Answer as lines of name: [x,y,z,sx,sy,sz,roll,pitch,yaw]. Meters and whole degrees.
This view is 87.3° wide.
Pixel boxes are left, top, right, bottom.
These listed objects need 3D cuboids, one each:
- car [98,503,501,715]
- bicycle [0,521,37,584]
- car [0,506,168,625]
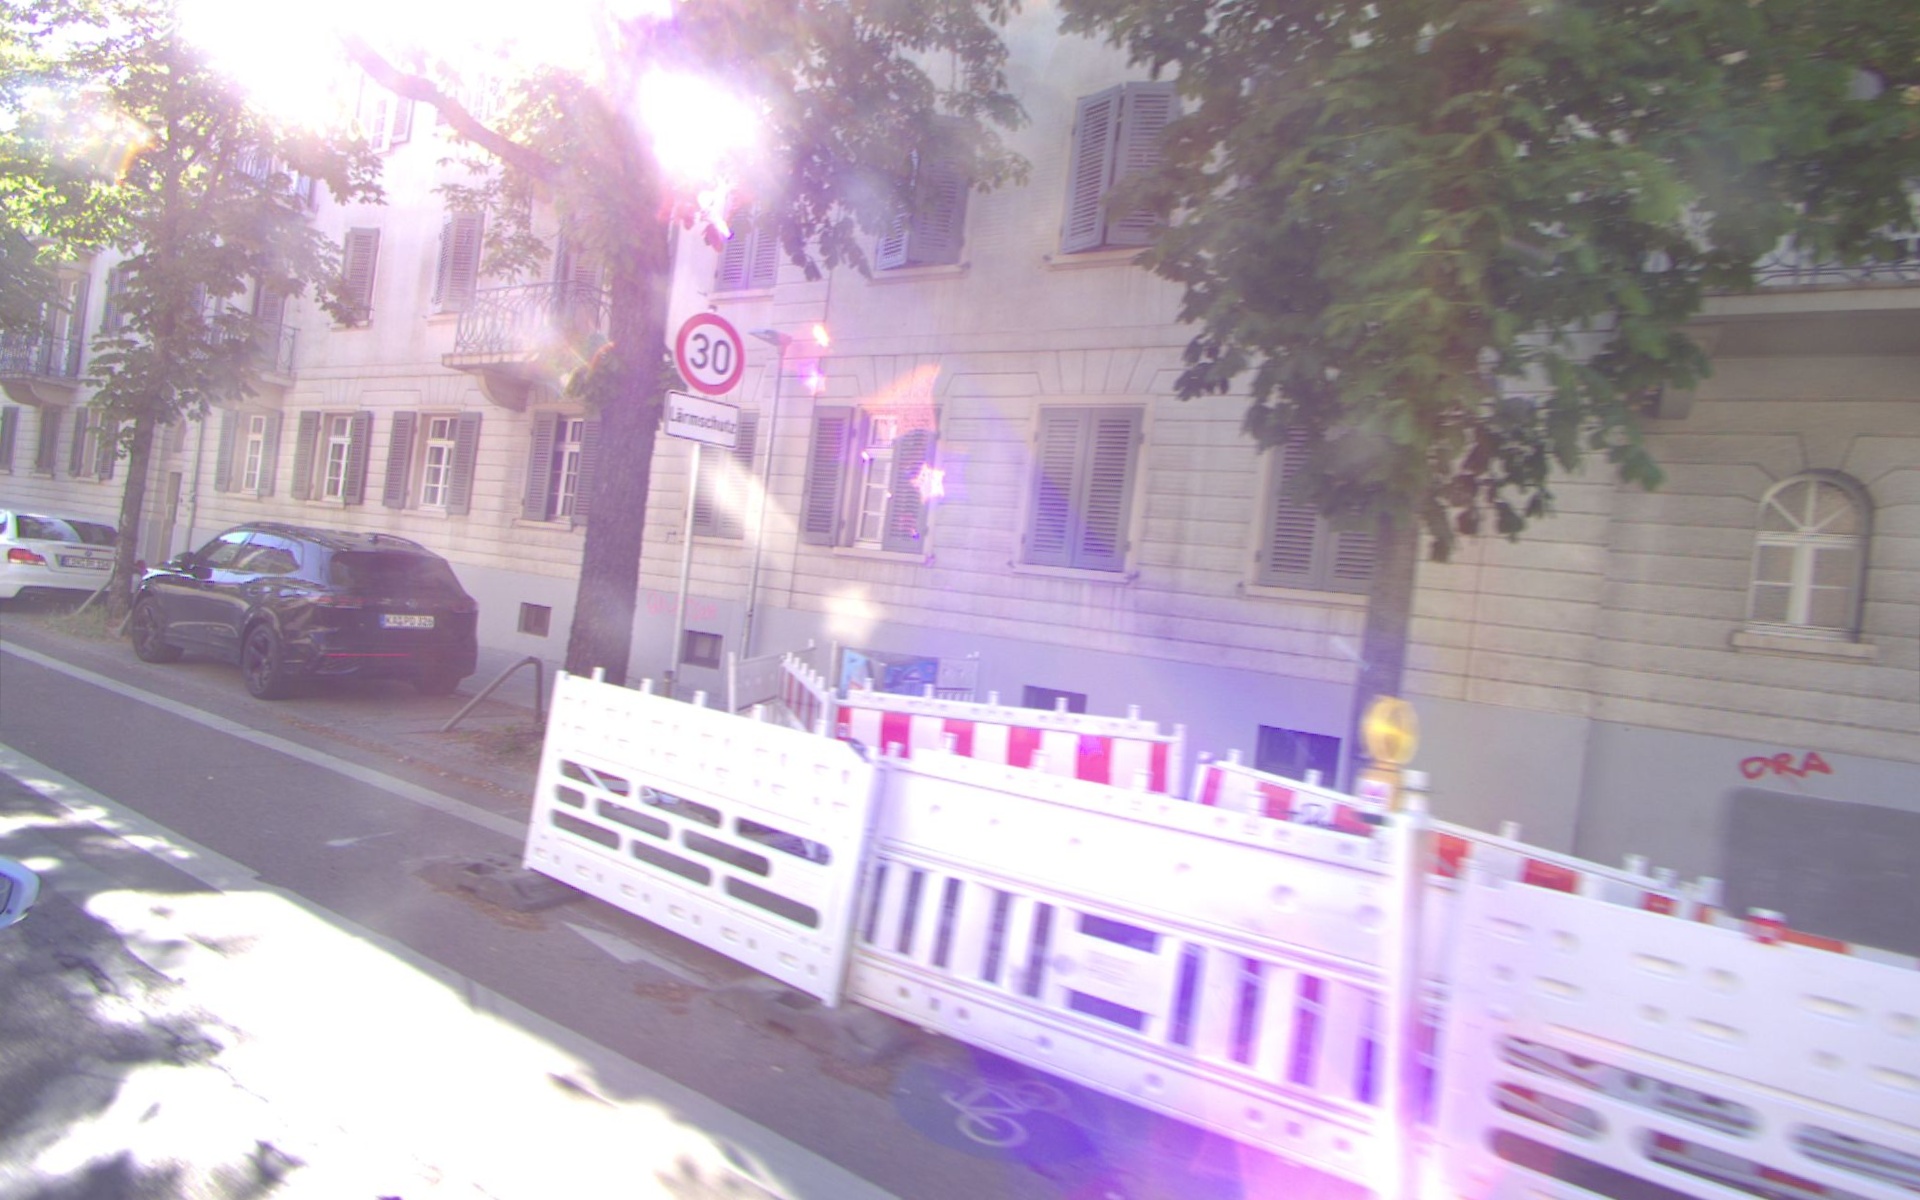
car: [-7.138,0.016,10.730,4.508,1.647,1.811,7,1,32]
bicycle: [-17.277,-0.892,17.509,0.674,1.056,1.621,7,0,32]
car: [-13.533,-0.598,14.702,4.285,1.399,1.725,7,0,33]
